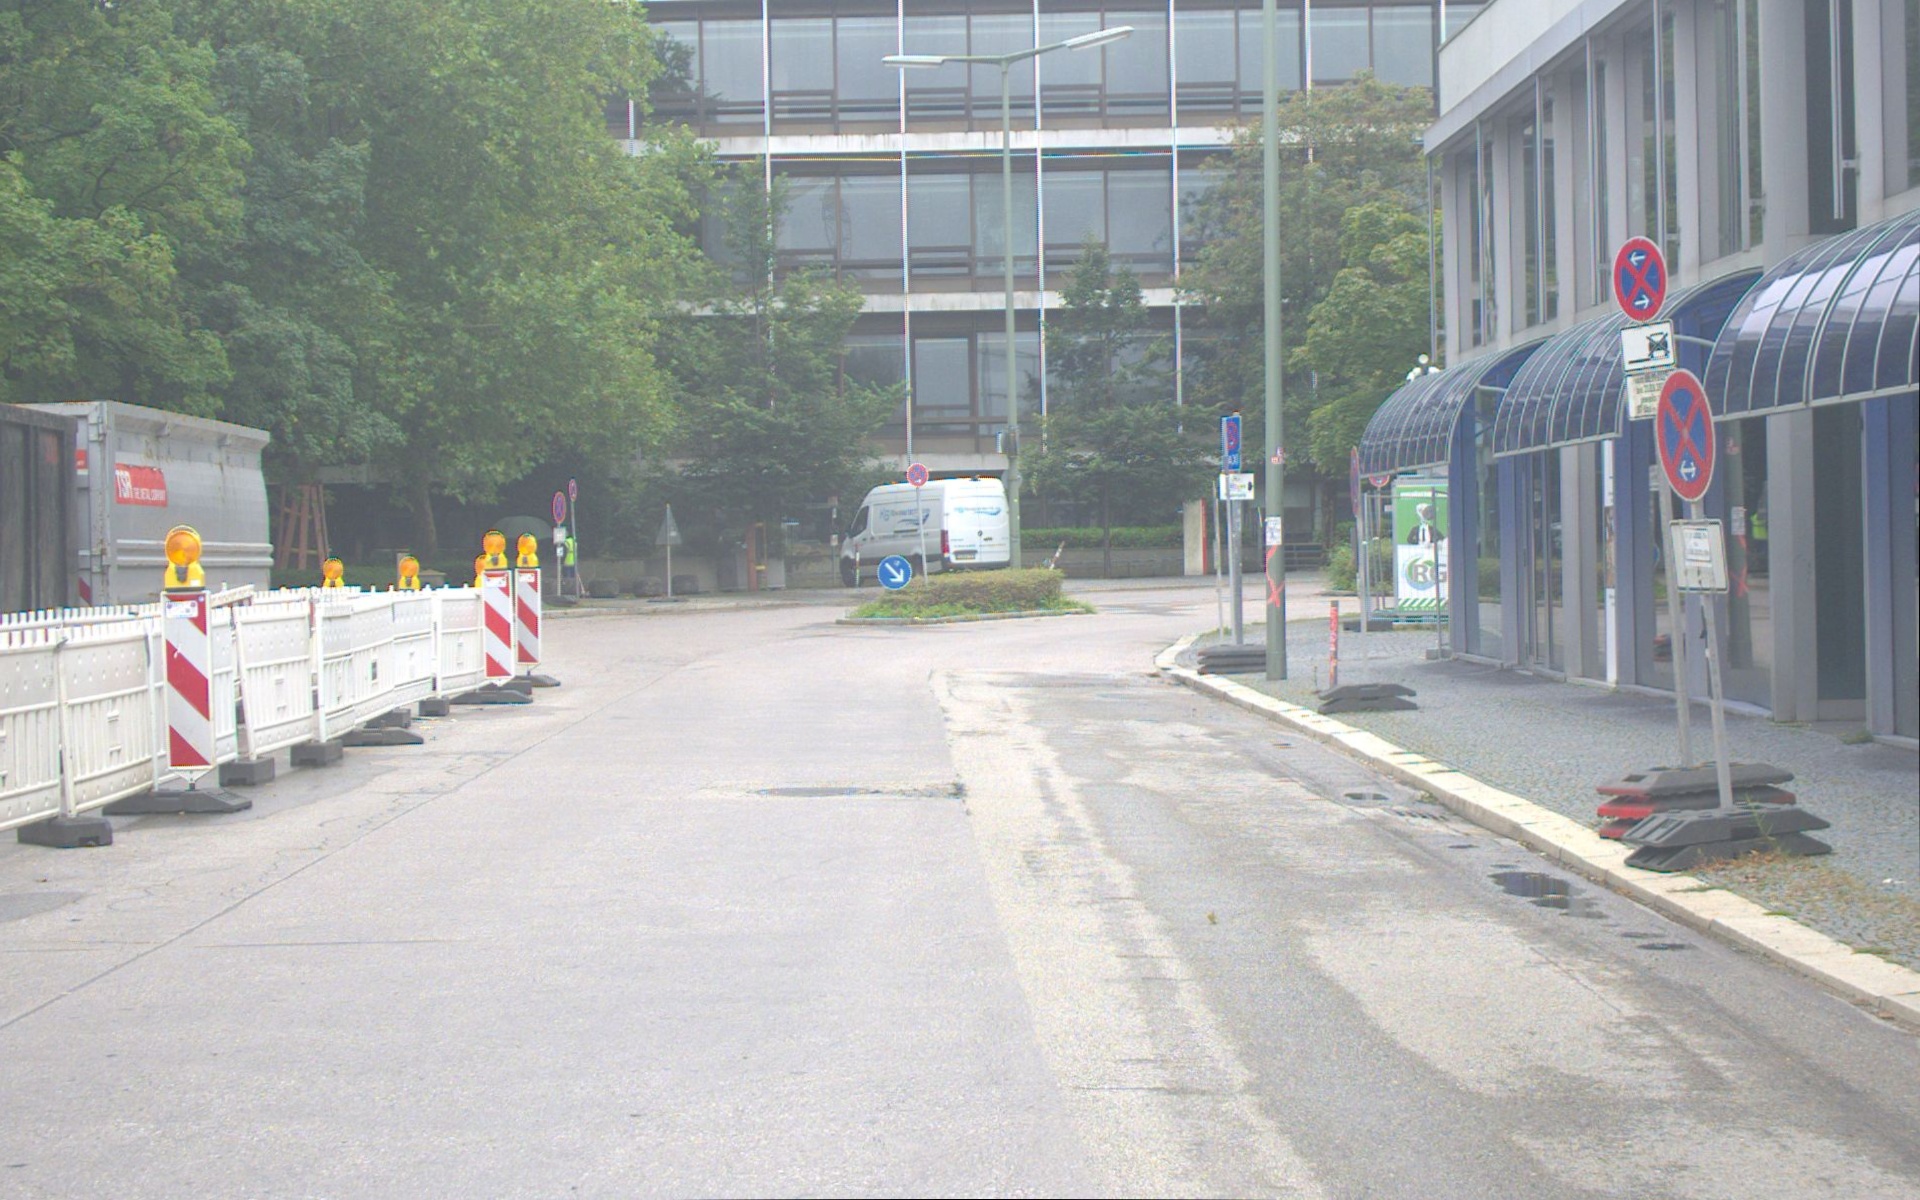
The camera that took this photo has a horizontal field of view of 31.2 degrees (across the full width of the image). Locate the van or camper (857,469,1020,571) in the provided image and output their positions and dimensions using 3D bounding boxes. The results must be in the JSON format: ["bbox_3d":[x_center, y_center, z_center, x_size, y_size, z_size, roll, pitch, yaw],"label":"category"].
[{"bbox_3d":[-0.577,-1.993,86.573,2.085,2.483,5.068,-1,1,-26],"label":"van or camper"}]

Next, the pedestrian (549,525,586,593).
[{"bbox_3d":[-9.734,-1.011,85.295,0.741,1.671,0.682,-1,1,-20],"label":"pedestrian"}]
